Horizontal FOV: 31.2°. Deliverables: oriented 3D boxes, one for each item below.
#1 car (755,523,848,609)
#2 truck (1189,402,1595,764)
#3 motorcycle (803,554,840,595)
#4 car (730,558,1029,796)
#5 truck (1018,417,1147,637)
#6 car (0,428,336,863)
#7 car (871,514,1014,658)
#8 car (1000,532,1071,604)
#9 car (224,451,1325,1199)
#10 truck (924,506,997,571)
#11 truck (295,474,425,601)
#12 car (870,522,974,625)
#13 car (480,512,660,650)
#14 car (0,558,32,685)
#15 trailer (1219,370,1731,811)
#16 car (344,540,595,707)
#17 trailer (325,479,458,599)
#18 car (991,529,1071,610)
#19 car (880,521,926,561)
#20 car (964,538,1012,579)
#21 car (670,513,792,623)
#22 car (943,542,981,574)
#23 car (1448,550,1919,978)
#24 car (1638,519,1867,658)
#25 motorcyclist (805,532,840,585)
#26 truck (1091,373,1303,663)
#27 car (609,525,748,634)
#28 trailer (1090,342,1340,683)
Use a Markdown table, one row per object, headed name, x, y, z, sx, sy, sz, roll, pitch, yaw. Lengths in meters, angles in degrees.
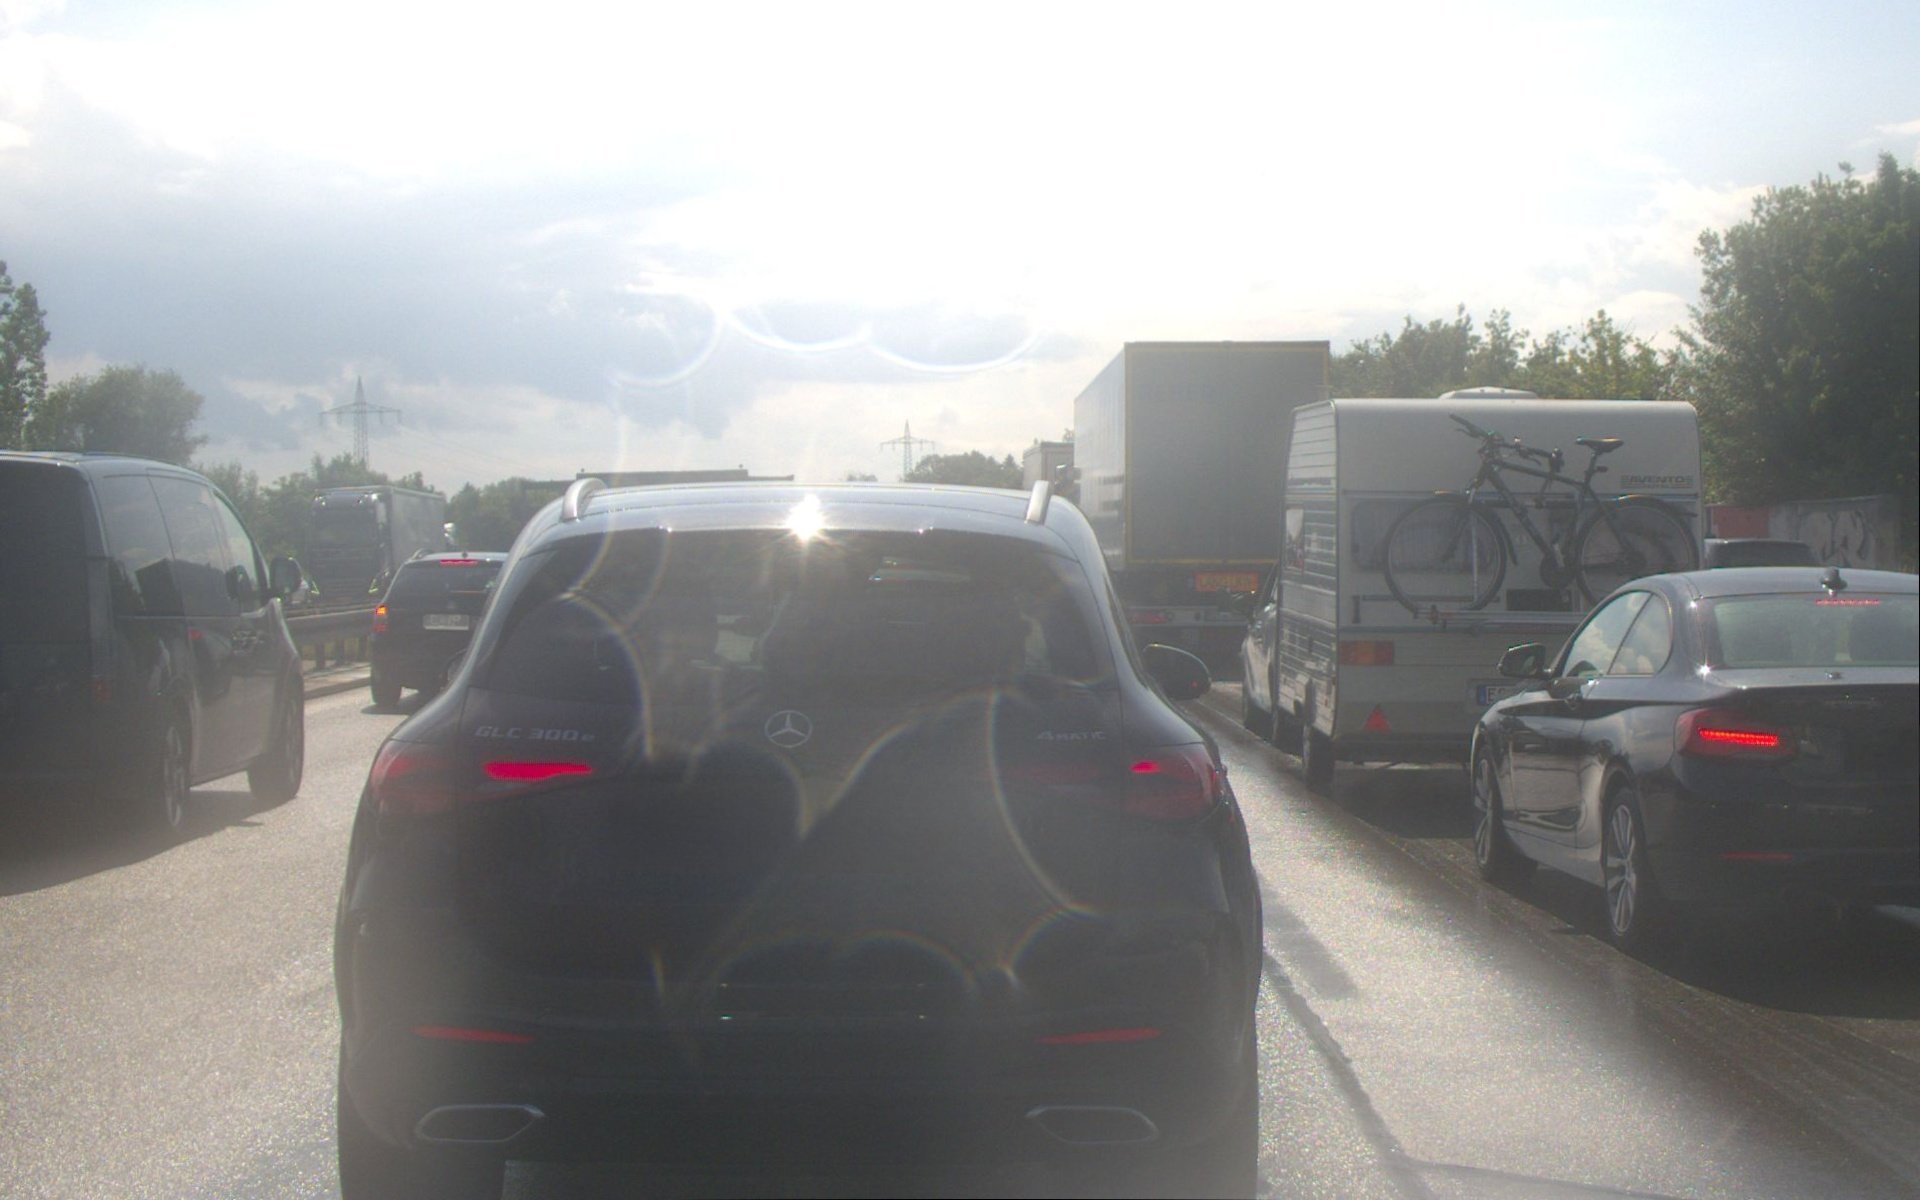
| name | x | y | z | sx | sy | sz | roll | pitch | yaw |
| --- | --- | --- | --- | --- | --- | --- | --- | --- | --- |
| car | -3.825 | -0.831 | 83.619 | 1.993 | 2.007 | 4.000 | 1 | 1 | 1 |
| truck | 3.174 | -0.152 | 26.631 | 2.374 | 2.468 | 5.756 | 1 | 1 | 0 |
| motorcycle | -4.450 | -0.831 | 110.987 | 1.074 | 1.267 | 2.690 | 0 | 1 | 0 |
| car | -0.440 | 0.428 | 22.198 | 1.757 | 1.382 | 3.945 | 0 | 1 | 1 |
| truck | 2.766 | -1.657 | 79.482 | 2.502 | 4.813 | 7.544 | 1 | 1 | -1 |
| car | -4.831 | 0.162 | 18.500 | 1.993 | 2.007 | 5.269 | 0 | 1 | 0 |
| car | -0.236 | -0.232 | 52.919 | 1.993 | 2.007 | 4.000 | 4 | 1 | 1 |
| car | 2.281 | -0.987 | 105.107 | 1.993 | 2.007 | 4.000 | 4 | 1 | 1 |
| car | -0.341 | 0.535 | 8.442 | 1.993 | 1.656 | 4.406 | 0 | 1 | 0 |
| truck | -0.041 | -3.889 | 219.891 | 3.842 | 4.003 | 11.223 | 1 | 1 | -4 |
| truck | -20.344 | -2.112 | 117.016 | 3.005 | 4.089 | 7.687 | -1 | 1 | 0 |
| car | -0.728 | -0.553 | 68.937 | 1.993 | 2.007 | 4.000 | 0 | 1 | 1 |
| car | -5.108 | -0.264 | 45.511 | 1.993 | 1.714 | 4.000 | 1 | 1 | -1 |
| car | -12.076 | 0.234 | 38.958 | 1.993 | 1.455 | 4.098 | 2 | 1 | 0 |
| trailer | 3.179 | -0.095 | 22.841 | 2.374 | 2.475 | 6.523 | 1 | 1 | 0 |
| car | -4.674 | 0.179 | 33.278 | 1.757 | 1.511 | 4.209 | 0 | 1 | 1 |
| trailer | -20.356 | -2.166 | 123.757 | 3.005 | 4.089 | 10.477 | -1 | 1 | 0 |
| car | 1.834 | -0.809 | 89.526 | 1.993 | 2.007 | 4.000 | 2 | 1 | 1 |
| car | -2.546 | -2.599 | 152.037 | 1.876 | 1.754 | 4.001 | 1 | 1 | -3 |
| car | 1.228 | -1.833 | 151.079 | 1.876 | 1.754 | 4.001 | 1 | 1 | -3 |
| car | -4.546 | -0.654 | 68.715 | 1.993 | 2.007 | 4.000 | 4 | 1 | 1 |
| car | 0.087 | -2.340 | 192.093 | 1.876 | 1.754 | 4.001 | 1 | 1 | -3 |
| car | 3.254 | 0.532 | 13.916 | 1.848 | 1.459 | 4.256 | 0 | 1 | -1 |
| car | 9.820 | -0.175 | 42.902 | 1.820 | 1.615 | 4.364 | 1 | 1 | 0 |
| motorcyclist | -4.448 | -1.334 | 111.063 | 1.064 | 1.712 | 0.785 | 0 | 1 | 1 |
| truck | 3.511 | -1.219 | 52.149 | 2.995 | 4.152 | 5.240 | 1 | 1 | 2 |
| car | -4.823 | -0.375 | 59.403 | 1.993 | 1.766 | 4.000 | -1 | 1 | 1 |
| trailer | 3.296 | -1.135 | 46.533 | 3.007 | 4.152 | 8.535 | 1 | 1 | 2 |
